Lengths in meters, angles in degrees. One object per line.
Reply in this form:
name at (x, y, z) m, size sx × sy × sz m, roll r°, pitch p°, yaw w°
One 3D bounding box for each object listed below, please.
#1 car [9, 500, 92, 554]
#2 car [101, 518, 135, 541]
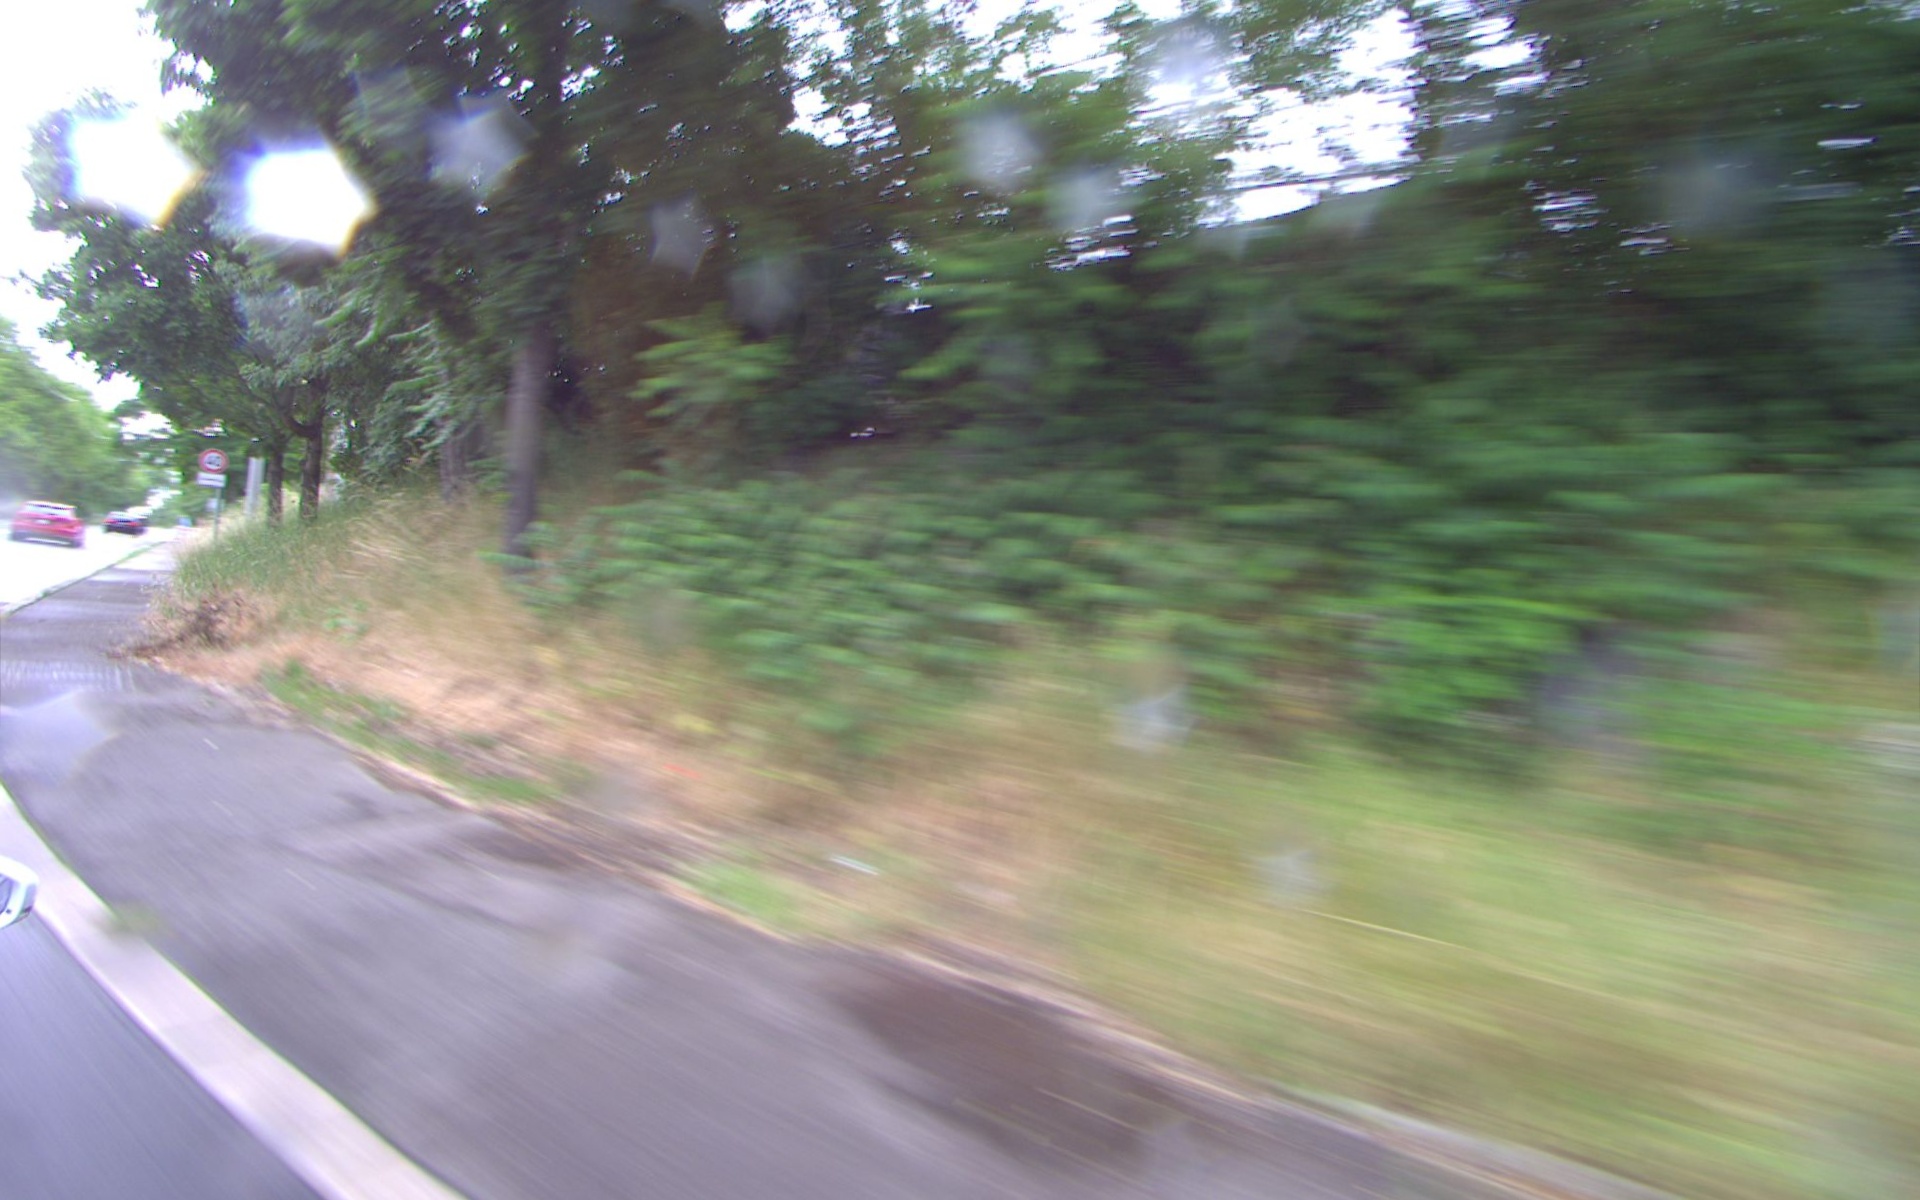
car at (-31.578, -2.492, 35.017) m, size 1.685 × 1.441 × 3.336 m, roll 9°, pitch -4°, yaw -36°
car at (-52.029, -4.324, 62.184) m, size 1.336 × 1.152 × 2.269 m, roll 7°, pitch -3°, yaw -36°
